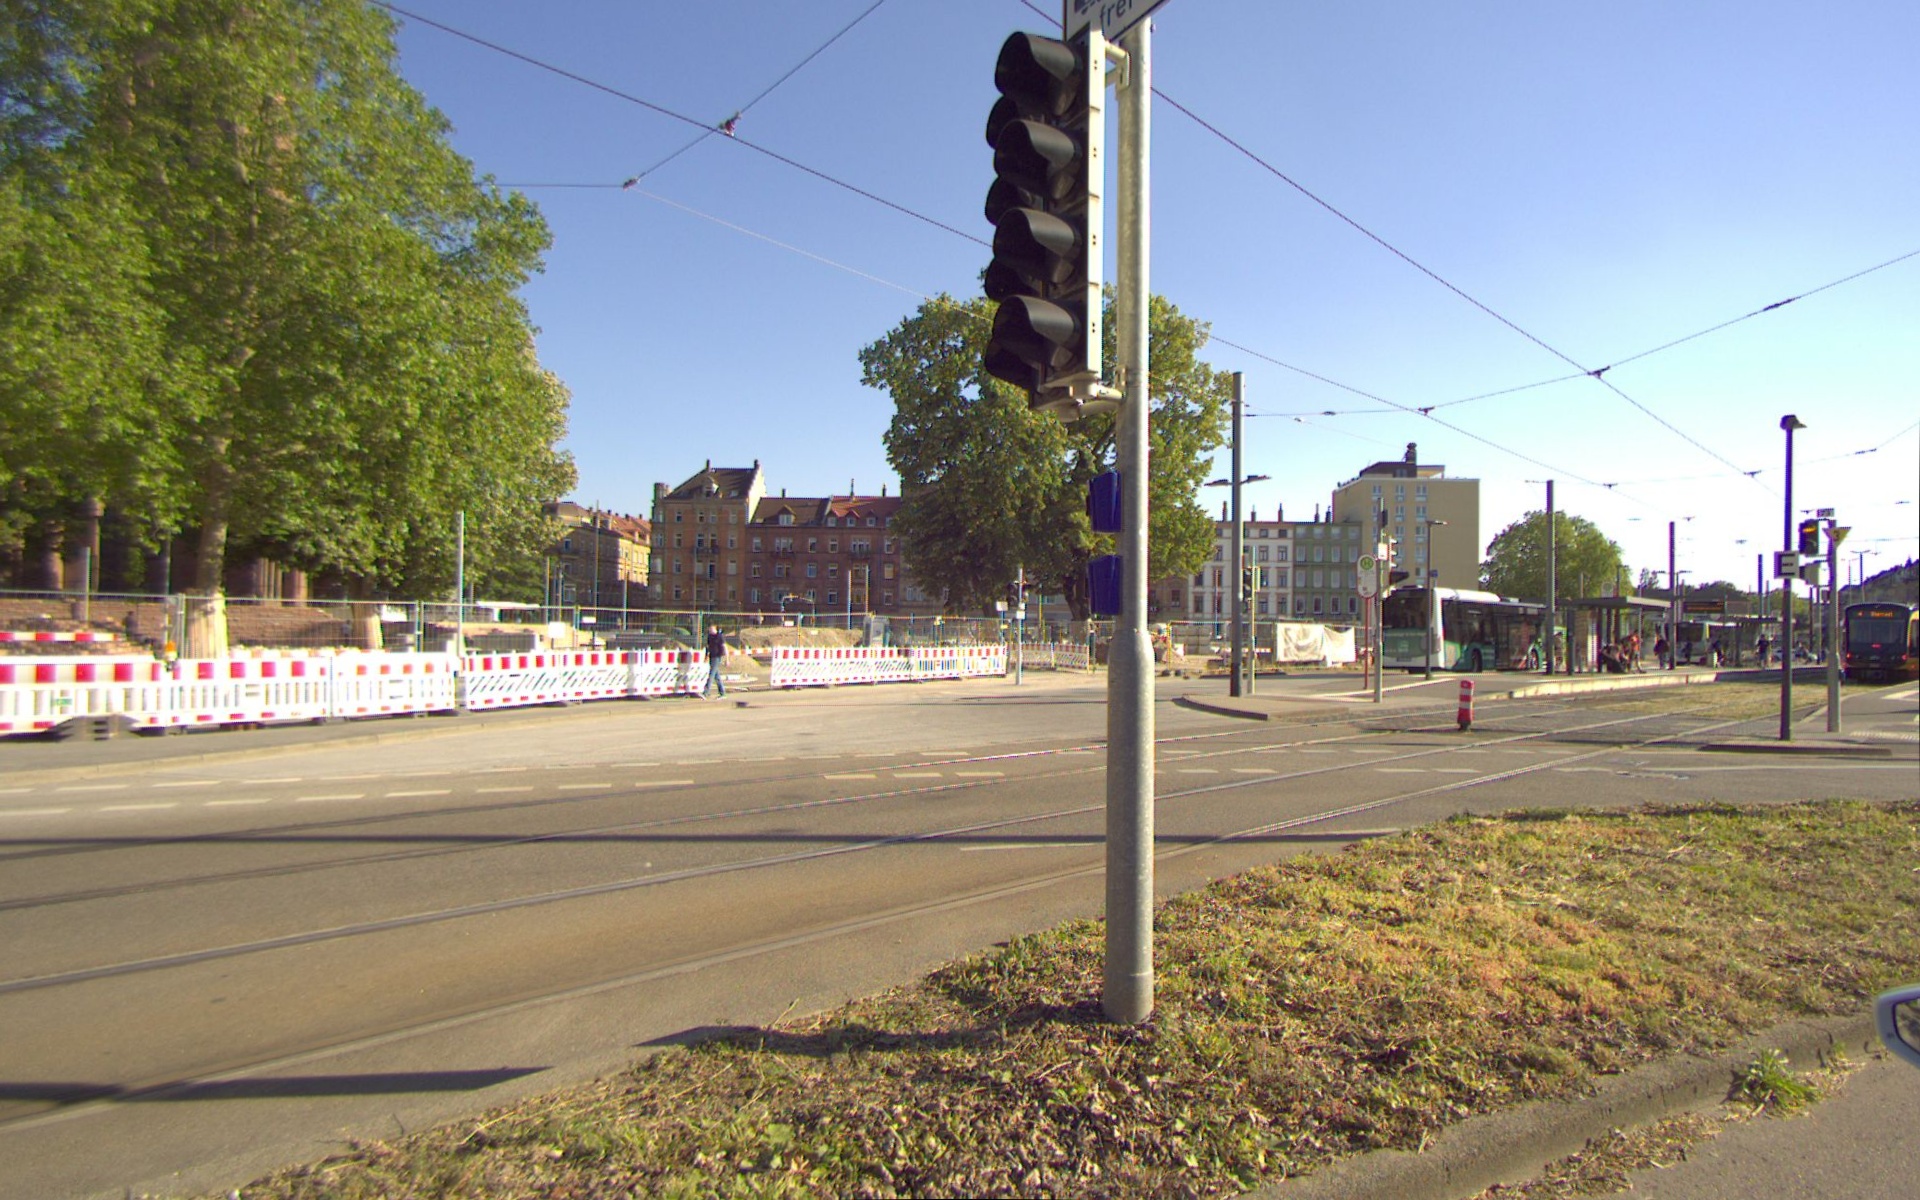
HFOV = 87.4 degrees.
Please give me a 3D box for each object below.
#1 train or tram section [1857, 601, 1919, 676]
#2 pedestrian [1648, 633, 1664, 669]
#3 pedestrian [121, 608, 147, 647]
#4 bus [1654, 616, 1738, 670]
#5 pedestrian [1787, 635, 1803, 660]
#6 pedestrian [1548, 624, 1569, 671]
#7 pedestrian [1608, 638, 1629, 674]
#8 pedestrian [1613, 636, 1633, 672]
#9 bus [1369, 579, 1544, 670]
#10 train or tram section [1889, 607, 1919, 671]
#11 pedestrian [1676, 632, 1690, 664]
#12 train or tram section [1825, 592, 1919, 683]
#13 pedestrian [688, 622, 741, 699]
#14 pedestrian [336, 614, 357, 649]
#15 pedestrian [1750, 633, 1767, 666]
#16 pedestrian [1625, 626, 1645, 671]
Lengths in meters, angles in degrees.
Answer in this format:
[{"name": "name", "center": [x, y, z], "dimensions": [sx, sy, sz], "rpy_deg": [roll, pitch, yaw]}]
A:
[{"name": "train or tram section", "center": [51.212, 2.085, 53.994], "dimensions": [12.106, 3.644, 2.985], "rpy_deg": [2, 0, -41]}, {"name": "pedestrian", "center": [34.565, 2.517, 49.909], "dimensions": [0.629, 1.772, 0.571], "rpy_deg": [0, -2, 33]}, {"name": "pedestrian", "center": [-36.111, 1.207, 43.926], "dimensions": [0.665, 1.669, 0.635], "rpy_deg": [1, -1, -19]}, {"name": "bus", "center": [50.716, 2.904, 69.012], "dimensions": [2.692, 3.317, 13.382], "rpy_deg": [2, 0, 44]}, {"name": "pedestrian", "center": [60.335, 3.448, 72.566], "dimensions": [0.634, 1.772, 0.728], "rpy_deg": [2, -2, -38]}, {"name": "pedestrian", "center": [22.802, 1.808, 38.268], "dimensions": [0.554, 1.772, 0.534], "rpy_deg": [2, -2, -36]}, {"name": "pedestrian", "center": [25.302, 2.138, 38.586], "dimensions": [0.609, 1.358, 0.438], "rpy_deg": [-1, -2, 43]}, {"name": "pedestrian", "center": [25.801, 2.105, 39.072], "dimensions": [0.564, 1.363, 0.636], "rpy_deg": [-1, -2, 42]}, {"name": "bus", "center": [19.617, 0.991, 39.282], "dimensions": [9.569, 3.177, 2.630], "rpy_deg": [2, 0, -41]}, {"name": "train or tram section", "center": [60.265, 2.455, 61.872], "dimensions": [11.955, 3.644, 3.014], "rpy_deg": [2, 0, -41]}, {"name": "pedestrian", "center": [41.615, 2.760, 57.809], "dimensions": [0.563, 1.772, 0.637], "rpy_deg": [-1, -2, 40]}, {"name": "train or tram section", "center": [42.241, 1.704, 45.847], "dimensions": [12.114, 3.644, 2.854], "rpy_deg": [2, 0, -43]}, {"name": "pedestrian", "center": [-5.667, 1.399, 23.200], "dimensions": [0.699, 1.719, 0.899], "rpy_deg": [-1, -4, 32]}, {"name": "pedestrian", "center": [-30.052, 1.536, 49.198], "dimensions": [0.752, 1.669, 0.671], "rpy_deg": [2, -1, -27]}, {"name": "pedestrian", "center": [42.932, 2.670, 54.004], "dimensions": [0.629, 1.772, 0.571], "rpy_deg": [0, -2, 33]}, {"name": "pedestrian", "center": [27.153, 1.941, 40.422], "dimensions": [0.564, 1.772, 0.636], "rpy_deg": [-1, -2, 42]}]
